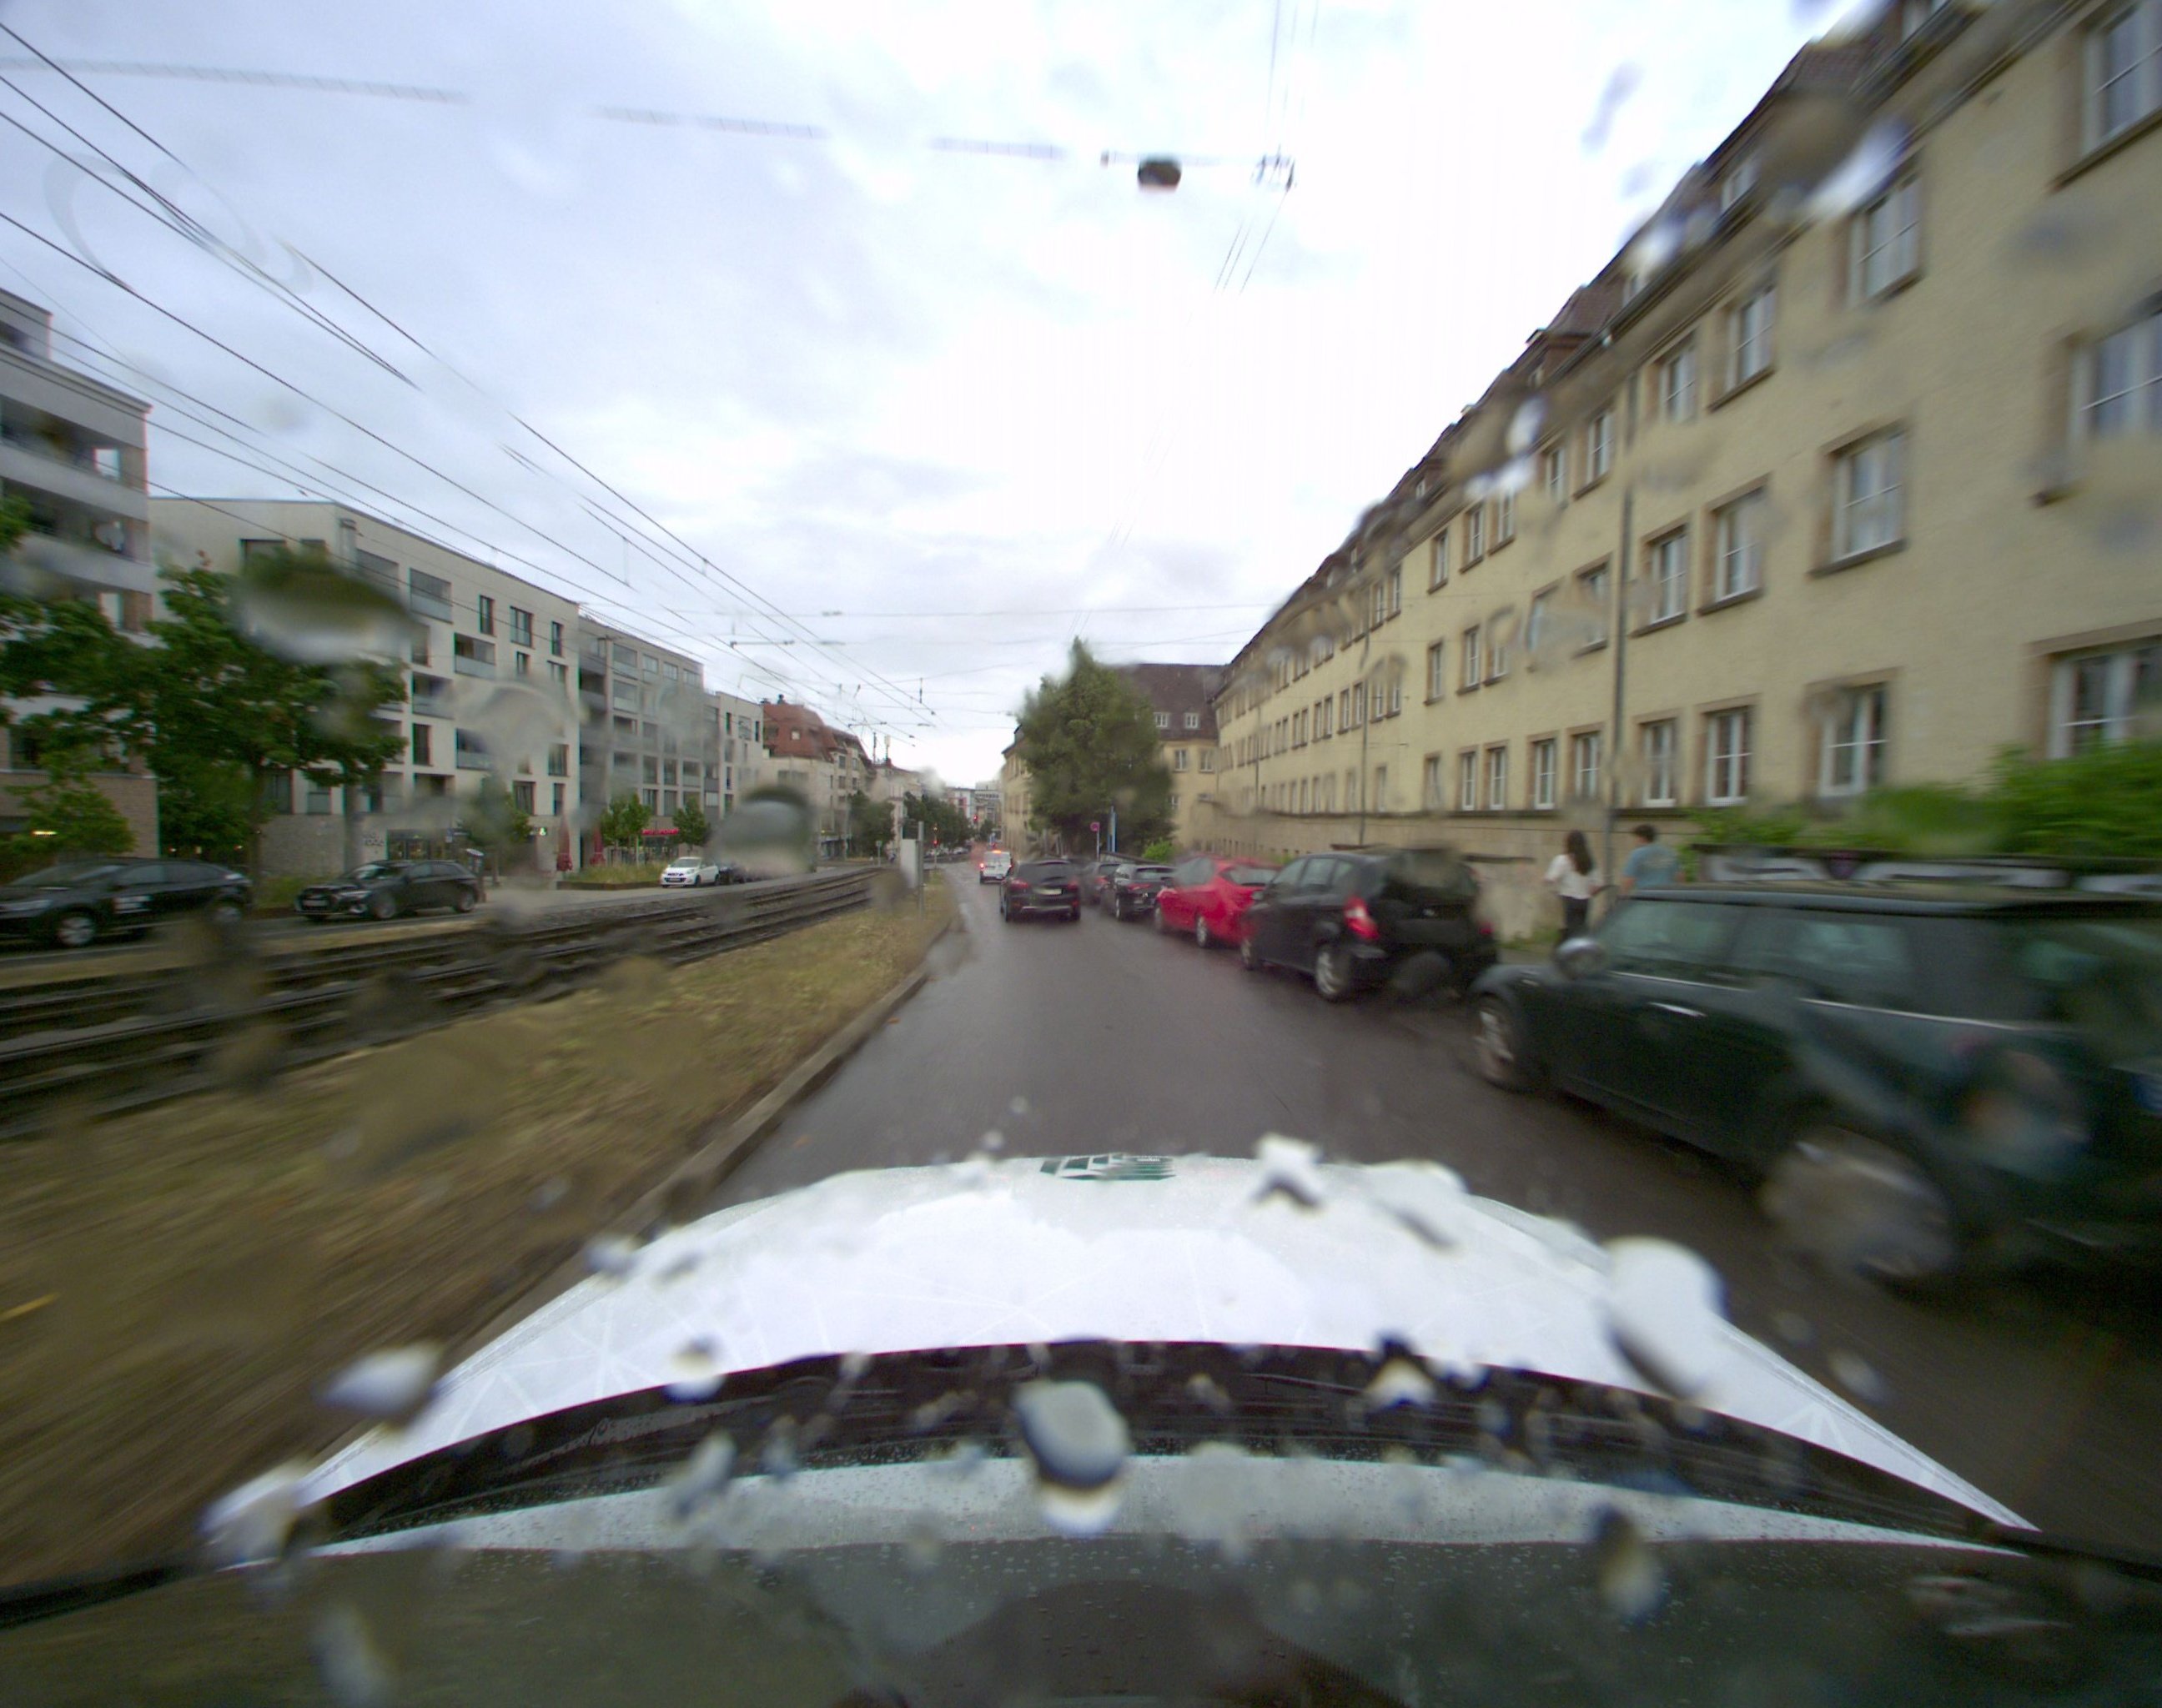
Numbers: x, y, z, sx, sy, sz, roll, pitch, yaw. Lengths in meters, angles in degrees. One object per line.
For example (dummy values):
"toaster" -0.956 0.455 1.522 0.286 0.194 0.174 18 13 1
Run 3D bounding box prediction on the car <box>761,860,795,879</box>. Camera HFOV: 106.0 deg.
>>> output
"car" -22.424 1.123 60.431 1.549 1.362 3.997 1 0 -9

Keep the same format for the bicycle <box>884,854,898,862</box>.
"bicycle" -25.483 0.486 109.308 0.452 1.064 1.813 1 0 42

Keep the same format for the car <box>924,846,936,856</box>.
"car" -31.804 -0.687 171.611 1.990 2.013 3.993 0 0 -5

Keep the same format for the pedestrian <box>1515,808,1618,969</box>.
"pedestrian" 5.521 0.381 9.297 0.715 1.754 0.739 -1 0 1

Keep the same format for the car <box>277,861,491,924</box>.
"car" -17.876 0.927 21.210 1.960 1.431 4.197 1 0 -1

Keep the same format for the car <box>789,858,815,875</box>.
"car" -26.081 1.113 76.297 1.914 1.504 4.217 -1 0 -13

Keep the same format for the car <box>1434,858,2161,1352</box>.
"car" 3.470 0.764 4.302 1.532 1.416 3.641 -1 0 -2

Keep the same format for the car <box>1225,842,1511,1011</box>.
"car" 3.148 0.697 9.818 1.664 1.573 3.845 -1 0 -8

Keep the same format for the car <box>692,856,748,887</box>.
"car" -19.889 0.923 45.026 1.765 1.561 4.391 -1 0 -9

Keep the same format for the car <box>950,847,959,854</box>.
"car" -31.459 -0.888 202.297 1.990 1.662 3.993 0 0 -5

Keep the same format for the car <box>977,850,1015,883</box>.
"car" -4.987 0.690 47.772 2.134 1.745 4.209 -1 1 -6

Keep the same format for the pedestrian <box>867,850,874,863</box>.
"pedestrian" -30.372 0.379 117.571 0.906 1.932 0.821 0 0 -14

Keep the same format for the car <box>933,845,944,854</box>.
"car" -31.123 -0.915 178.094 1.990 2.013 3.993 0 0 -5

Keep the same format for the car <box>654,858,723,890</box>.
"car" -19.530 0.947 40.645 1.761 1.479 3.730 -1 0 -3

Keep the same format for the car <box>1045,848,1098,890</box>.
"car" -0.437 0.566 32.331 1.664 1.524 4.099 -1 0 -7

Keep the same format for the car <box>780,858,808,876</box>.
"car" -24.441 1.061 69.484 1.775 1.504 4.065 -1 0 -13

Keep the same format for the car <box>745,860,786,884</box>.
"car" -21.411 1.195 55.356 1.719 1.513 4.304 -1 0 -9

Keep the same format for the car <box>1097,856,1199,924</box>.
"car" 1.547 0.804 20.450 1.664 1.476 4.446 -1 0 -7

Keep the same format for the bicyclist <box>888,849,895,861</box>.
"bicyclist" -25.437 0.083 109.300 0.457 1.574 0.706 0 -1 42

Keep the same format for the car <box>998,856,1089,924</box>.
"car" -1.052 0.829 20.714 1.919 1.479 3.989 -1 1 -8

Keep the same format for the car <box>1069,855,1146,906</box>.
"car" 0.769 0.798 26.338 1.665 1.476 4.095 -1 0 -10

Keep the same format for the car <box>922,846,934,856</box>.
"car" -31.137 -0.695 165.353 1.990 2.013 3.993 0 0 -5

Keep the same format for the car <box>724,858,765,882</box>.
"car" -20.734 0.956 50.302 1.549 1.435 3.440 -1 0 -9

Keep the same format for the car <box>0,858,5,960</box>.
"car" -17.747 0.848 10.354 1.796 1.583 4.699 1 0 1

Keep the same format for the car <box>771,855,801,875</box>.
"car" -23.548 0.848 65.033 1.775 1.504 3.903 -1 0 -13

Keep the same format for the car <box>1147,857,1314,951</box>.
"car" 2.570 0.803 15.028 1.666 1.476 4.050 1 0 -11

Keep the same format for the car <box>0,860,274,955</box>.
"car" -18.098 0.884 15.315 1.733 1.489 4.252 1 0 -3

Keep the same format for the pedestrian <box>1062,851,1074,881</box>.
"pedestrian" -0.792 0.711 48.456 0.632 1.721 0.709 -1 0 -9

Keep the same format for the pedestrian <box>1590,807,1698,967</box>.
"pedestrian" 6.425 0.364 9.331 0.715 1.754 0.739 -1 0 1

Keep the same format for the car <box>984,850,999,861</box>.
"car" -14.320 0.250 130.255 1.987 1.772 4.000 0 0 1
